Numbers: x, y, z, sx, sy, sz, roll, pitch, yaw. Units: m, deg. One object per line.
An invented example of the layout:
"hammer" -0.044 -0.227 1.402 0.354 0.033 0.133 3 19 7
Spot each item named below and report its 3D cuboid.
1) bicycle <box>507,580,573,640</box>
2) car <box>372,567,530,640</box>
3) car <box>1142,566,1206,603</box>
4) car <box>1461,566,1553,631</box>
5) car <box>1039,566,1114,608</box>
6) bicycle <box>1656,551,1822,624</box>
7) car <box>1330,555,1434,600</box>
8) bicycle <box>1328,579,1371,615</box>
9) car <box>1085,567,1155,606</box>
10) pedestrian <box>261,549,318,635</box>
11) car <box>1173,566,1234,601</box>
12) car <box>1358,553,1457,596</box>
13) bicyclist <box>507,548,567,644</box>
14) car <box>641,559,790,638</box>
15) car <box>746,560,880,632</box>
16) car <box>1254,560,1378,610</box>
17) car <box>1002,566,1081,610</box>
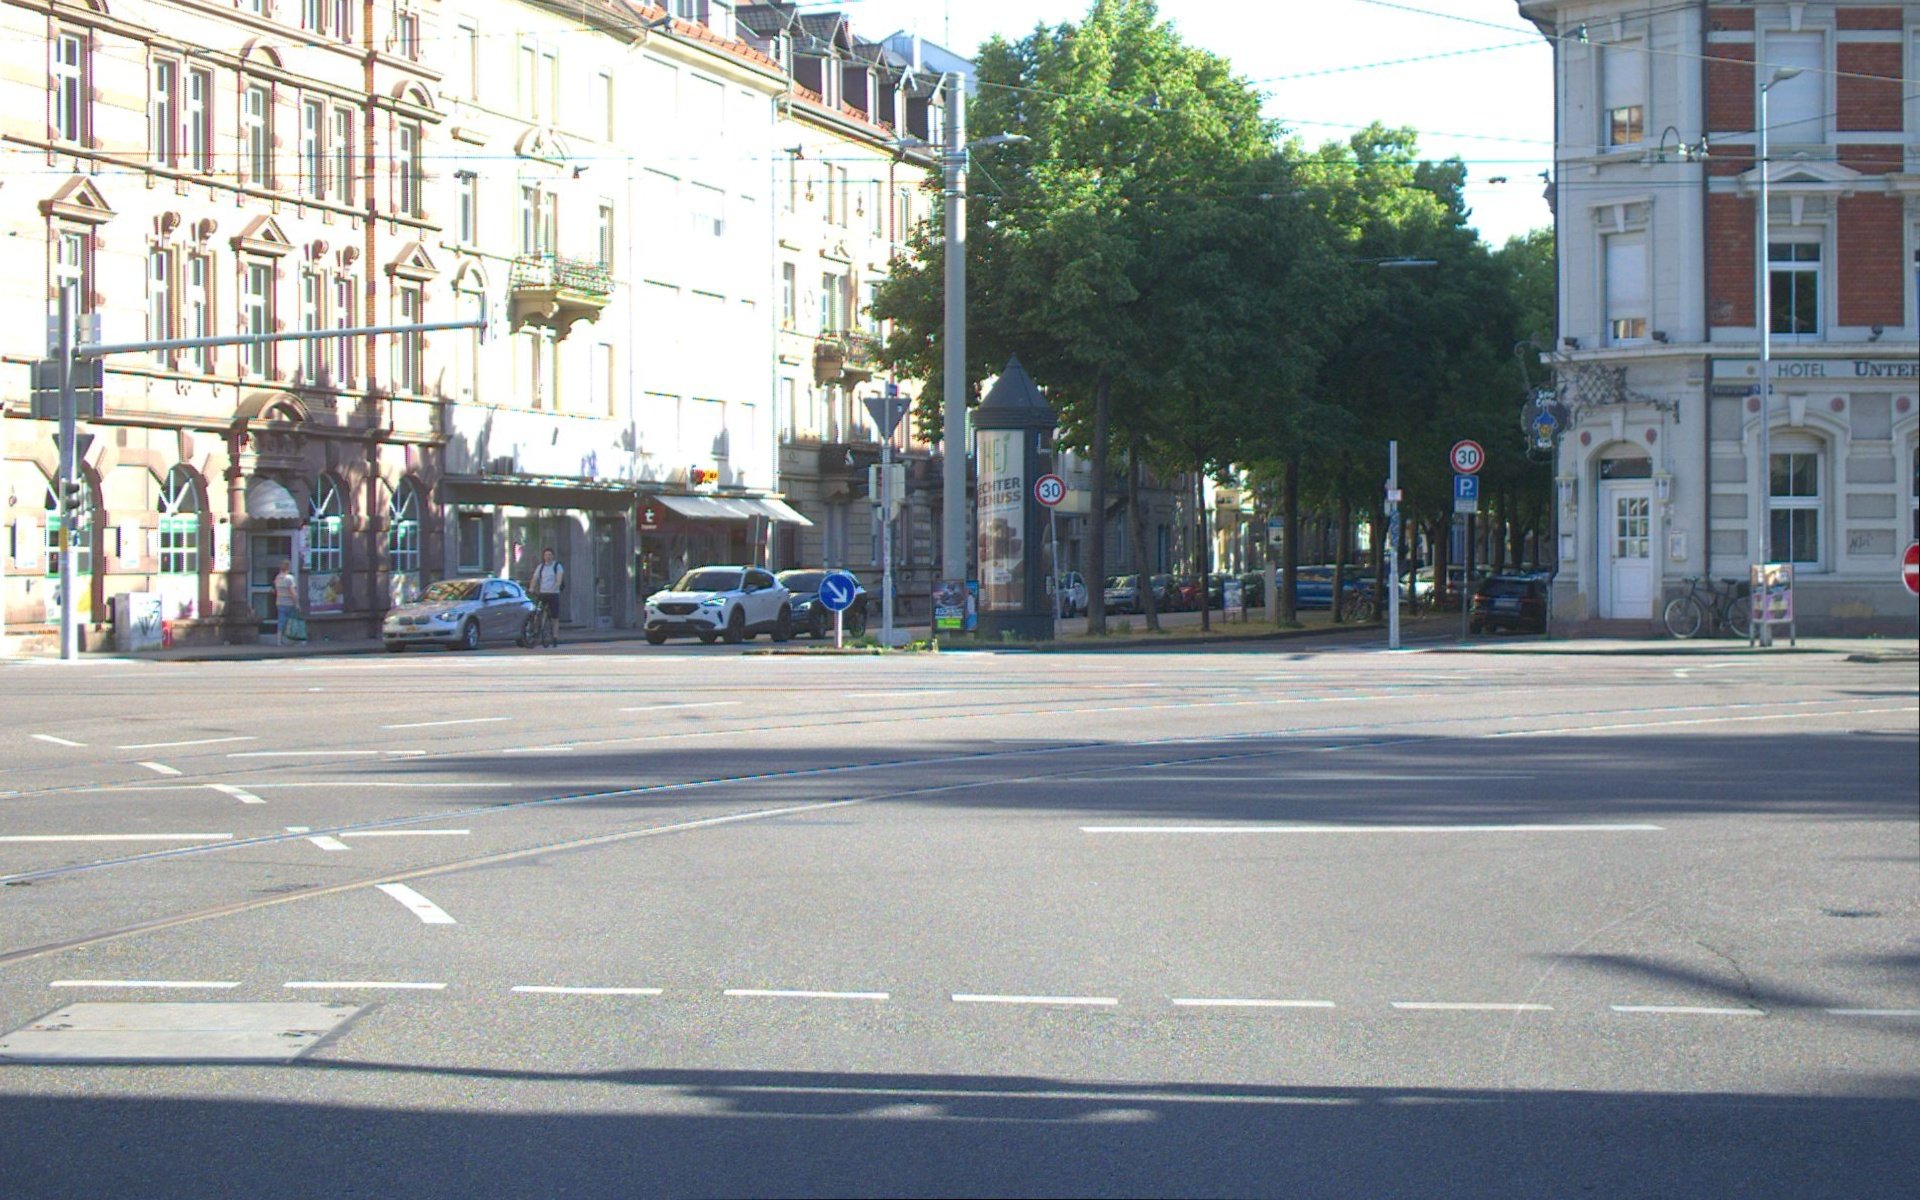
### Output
"bicycle" -7.973 0.186 65.260 0.702 1.114 1.634 1 1 13
"car" -9.866 0.057 66.905 1.678 1.349 3.588 0 1 17
"car" 8.147 -0.612 130.742 1.678 1.349 3.588 0 1 17
"car" 13.156 -0.056 82.569 1.678 1.478 3.945 0 1 16
"car" 3.940 -0.441 115.474 1.678 1.349 3.588 0 1 17
"bicycle" 12.975 -0.207 57.270 2.554 1.170 0.819 1 0 -3
"car" 15.720 -0.845 128.028 3.582 1.642 1.681 0 1 17
"bicycle" 11.267 -0.102 99.479 0.636 1.018 1.847 1 1 -14
"car" 5.711 -0.496 122.436 1.678 1.349 3.588 0 1 17
"pedestrian" -13.128 -0.152 67.320 0.776 1.664 0.830 1 0 15
"car" 9.619 -0.651 135.773 1.678 1.349 3.588 0 1 17
"car" 17.394 -0.999 133.502 3.582 1.642 1.681 0 1 17
"bicyclist" -8.008 -0.086 65.133 0.779 1.797 1.055 1 0 14
"car" -4.755 -0.051 67.309 1.678 1.478 3.768 0 1 17
"car" -3.114 -0.100 73.610 1.678 1.478 3.945 0 1 16
"car" 11.998 -0.508 115.673 3.905 1.642 1.681 0 1 17
"car" 2.642 -0.398 111.318 1.678 1.349 3.588 0 1 17
